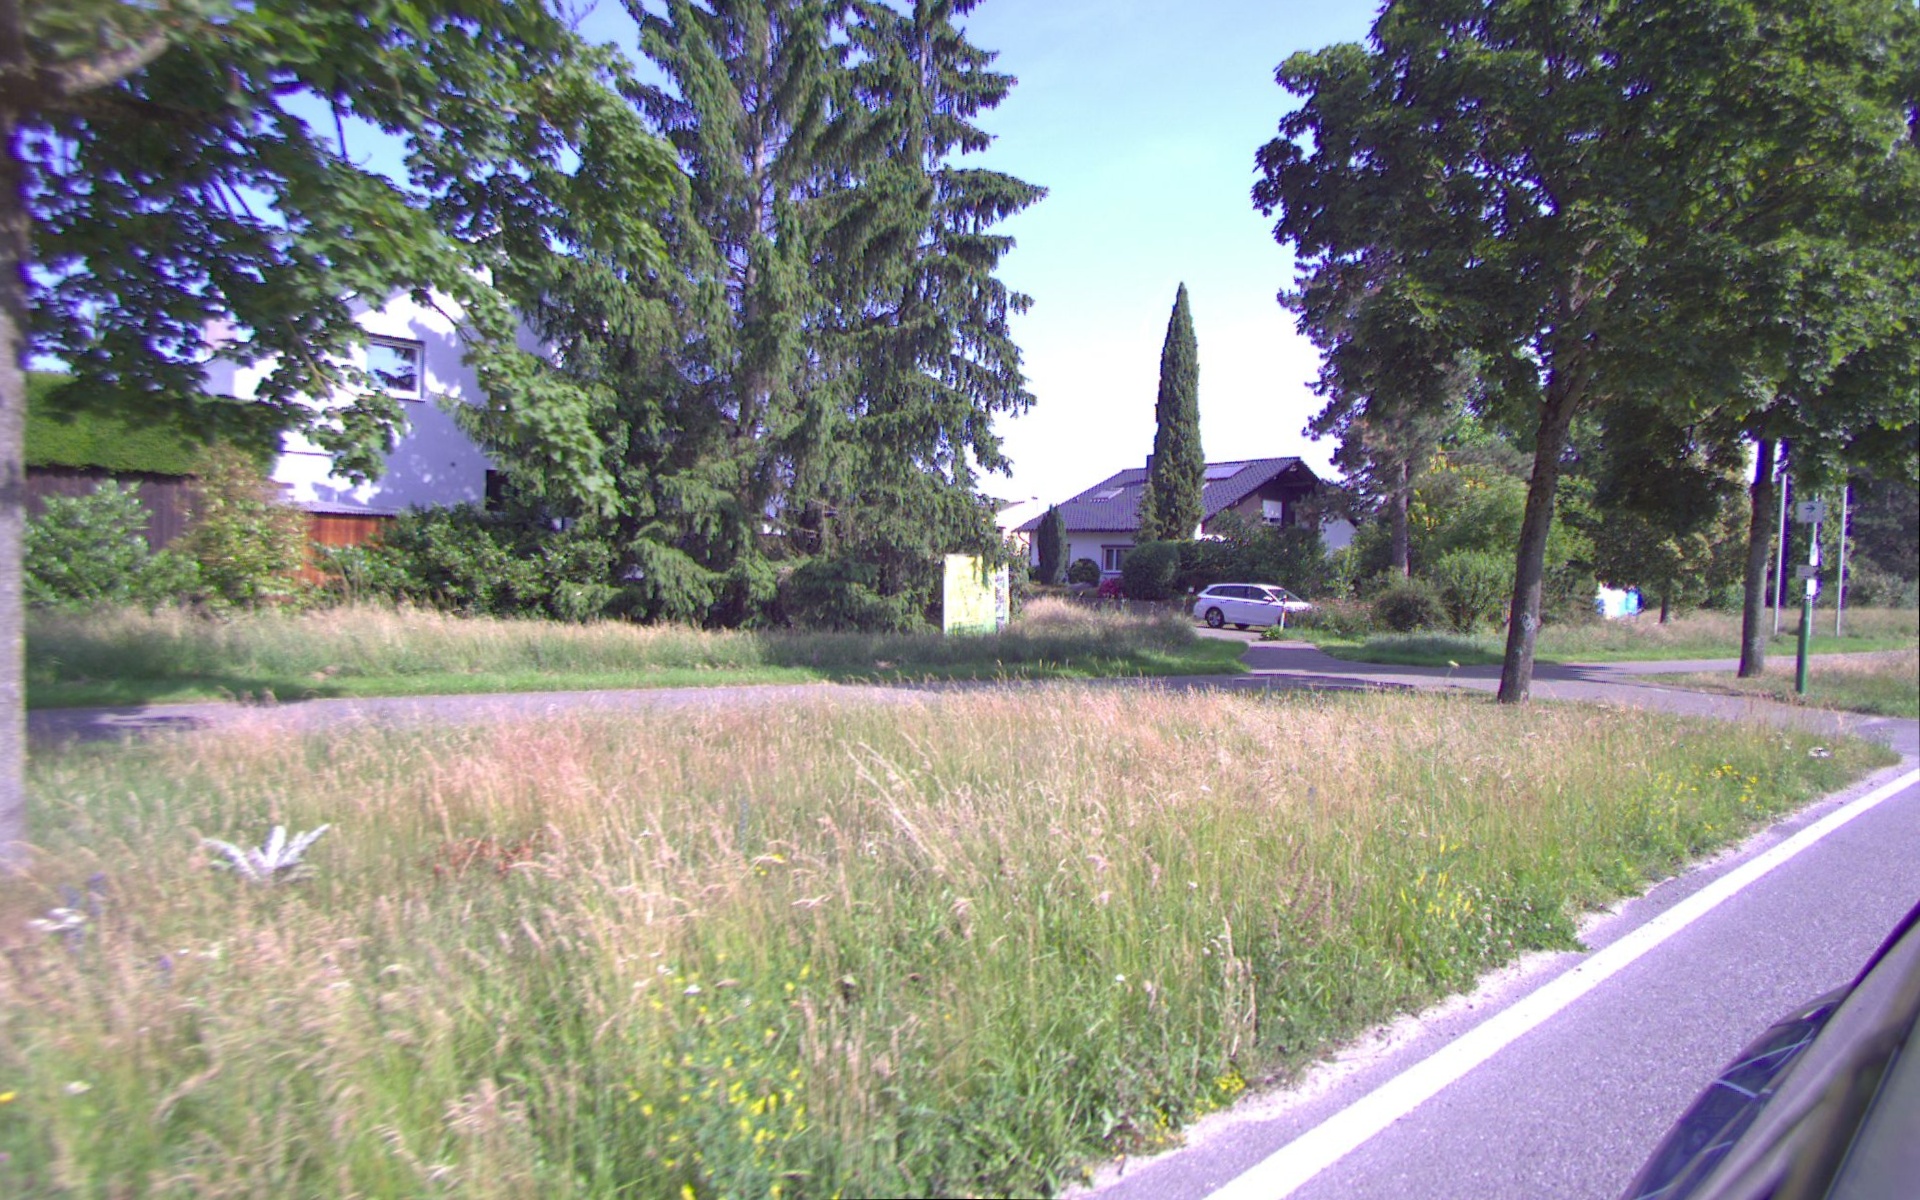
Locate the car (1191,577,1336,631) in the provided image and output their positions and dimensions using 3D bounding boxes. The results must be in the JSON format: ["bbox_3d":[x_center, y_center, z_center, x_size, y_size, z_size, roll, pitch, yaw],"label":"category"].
[{"bbox_3d":[9.461,0.087,31.748,1.784,1.451,3.993,0,3,-42],"label":"car"}]
